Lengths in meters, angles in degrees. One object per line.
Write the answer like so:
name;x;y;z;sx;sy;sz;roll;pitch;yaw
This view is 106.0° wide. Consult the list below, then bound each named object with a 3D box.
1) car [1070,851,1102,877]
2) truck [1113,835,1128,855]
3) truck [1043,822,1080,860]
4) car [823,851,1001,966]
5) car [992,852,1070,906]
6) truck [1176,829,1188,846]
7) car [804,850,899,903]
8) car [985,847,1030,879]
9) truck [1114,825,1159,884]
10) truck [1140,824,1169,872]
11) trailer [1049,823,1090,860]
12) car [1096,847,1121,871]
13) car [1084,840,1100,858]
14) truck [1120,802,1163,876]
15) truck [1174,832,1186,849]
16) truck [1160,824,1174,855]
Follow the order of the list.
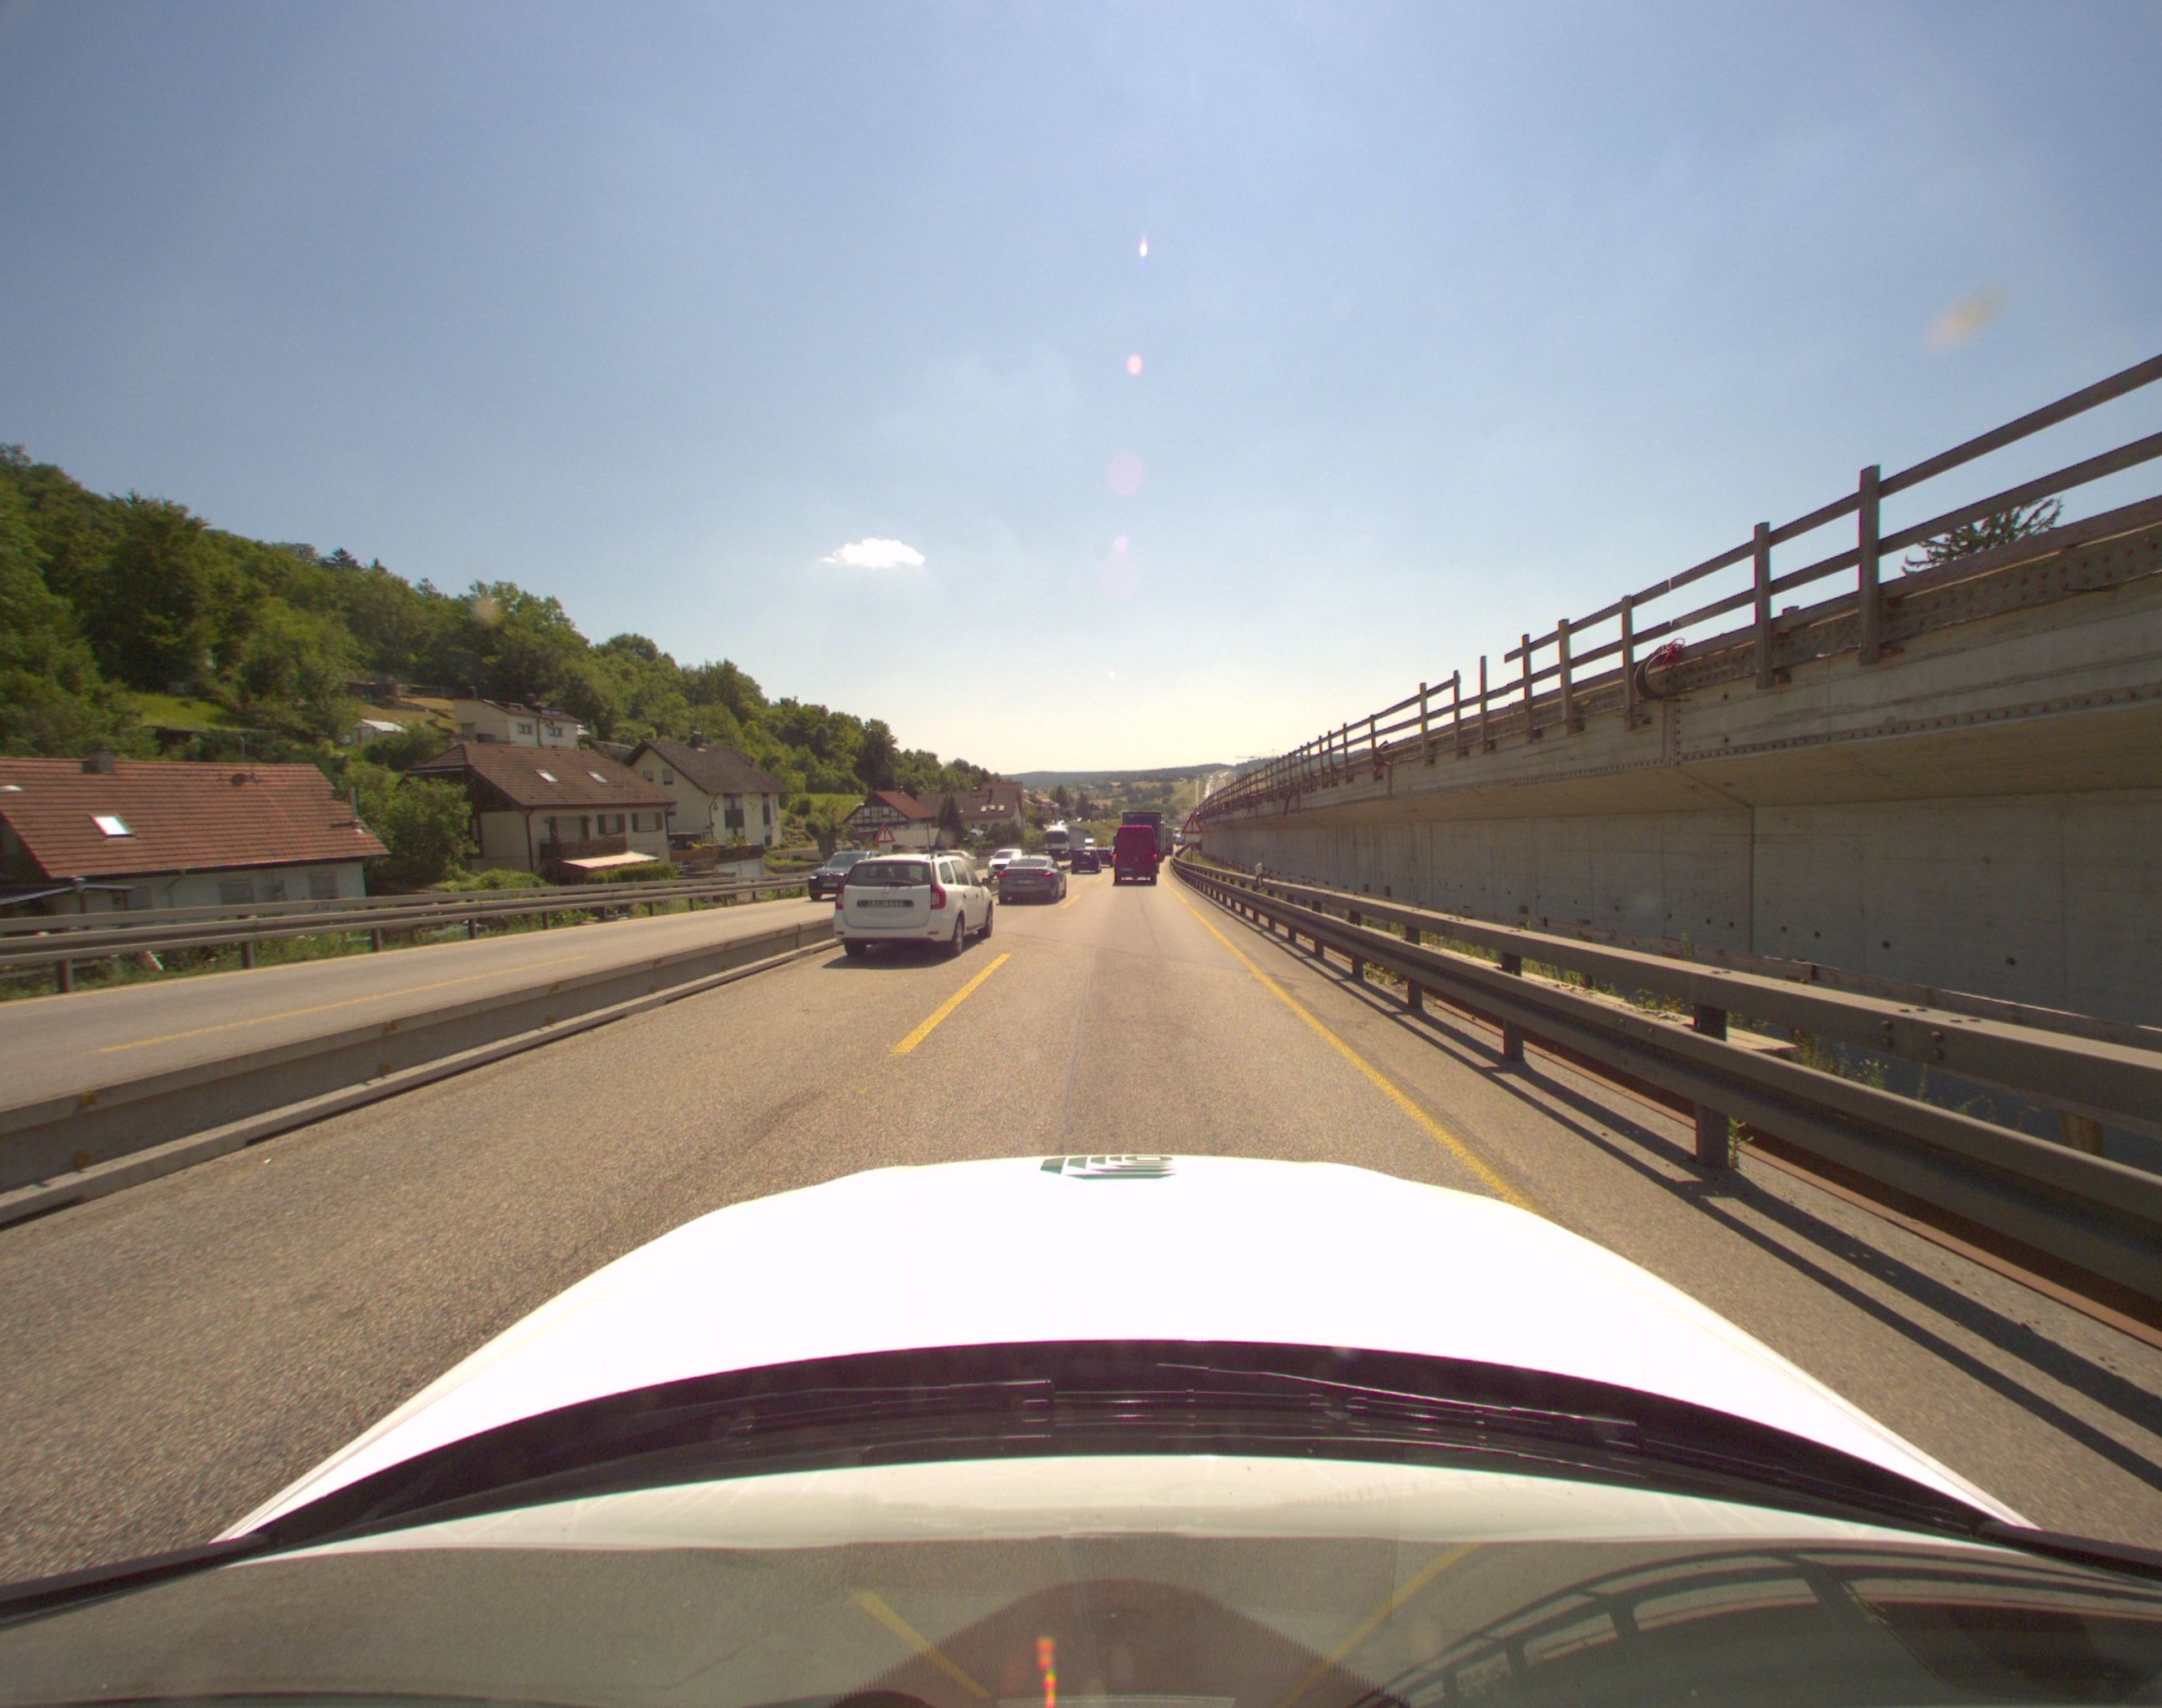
car;0.387;0.670;53.559;1.802;1.608;3.723;-1;-1;4
truck;8.010;-1.755;165.131;2.495;3.965;5.185;-1;-1;7
truck;-2.121;-1.454;91.431;3.118;4.079;6.894;-1;0;7
car;-2.511;0.757;13.172;1.644;1.483;4.271;-3;-1;4
car;-1.460;0.724;25.378;1.786;1.485;4.056;-2;0;5
truck;29.167;-4.740;235.108;3.449;4.381;8.574;-1;-1;7
car;-8.106;0.775;29.186;1.898;1.742;4.664;-1;-1;2
car;-4.061;0.503;45.643;1.741;1.687;4.393;-1;-1;5
truck;2.584;0.047;38.105;1.985;2.578;4.003;-1;-1;3
truck;7.813;-0.495;87.316;2.773;4.816;9.696;-1;-1;4
trailer;-1.275;-1.460;98.024;3.118;4.079;11.844;-1;0;7
car;2.249;0.402;65.341;1.721;1.838;4.006;-1;-1;6
car;1.714;-0.786;123.489;1.996;2.603;5.986;-1;0;4
truck;4.352;-0.902;58.533;2.773;4.816;9.696;-1;-1;4
truck;25.840;-3.480;213.096;3.052;4.381;8.574;-1;-1;7
truck;12.575;-2.088;118.918;1.983;4.381;4.008;-1;-1;7
